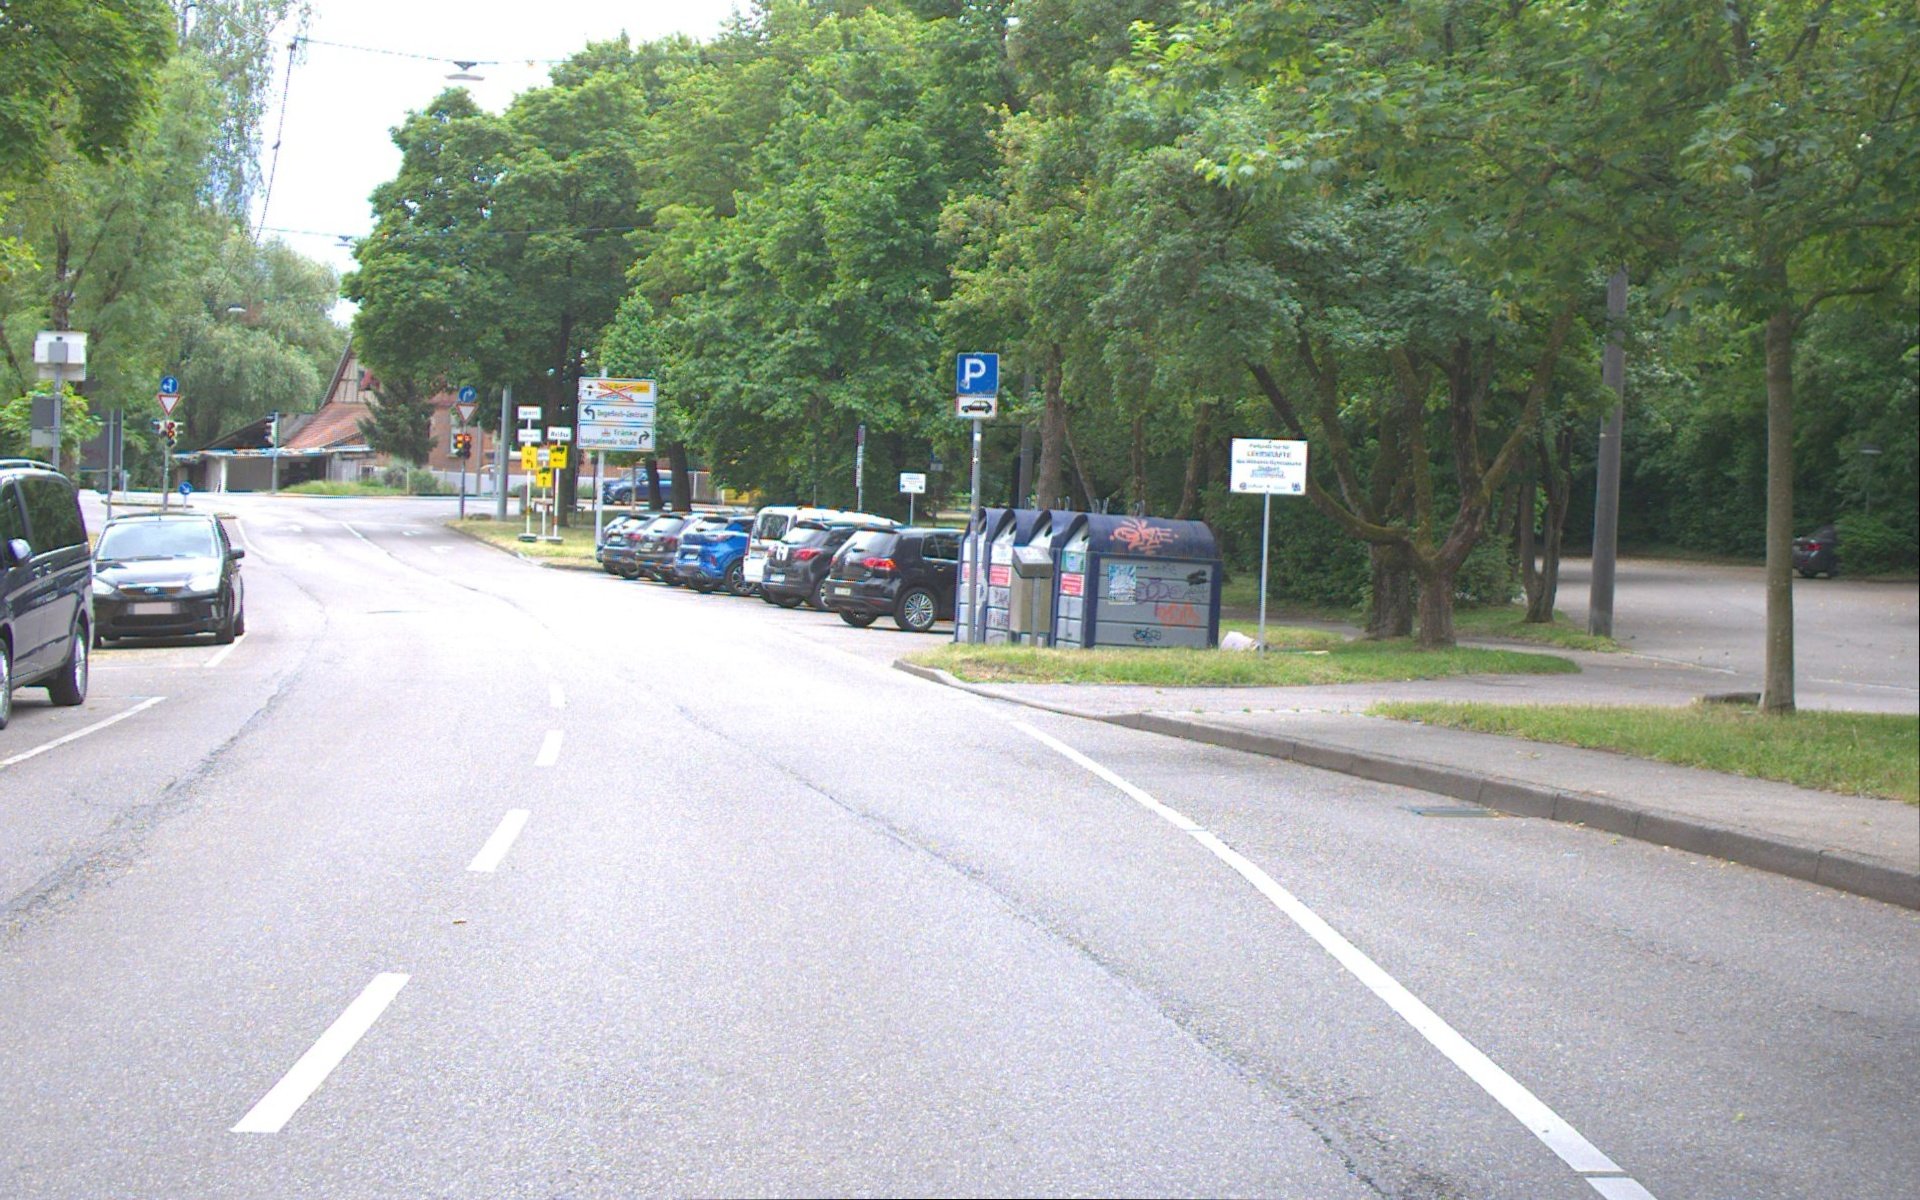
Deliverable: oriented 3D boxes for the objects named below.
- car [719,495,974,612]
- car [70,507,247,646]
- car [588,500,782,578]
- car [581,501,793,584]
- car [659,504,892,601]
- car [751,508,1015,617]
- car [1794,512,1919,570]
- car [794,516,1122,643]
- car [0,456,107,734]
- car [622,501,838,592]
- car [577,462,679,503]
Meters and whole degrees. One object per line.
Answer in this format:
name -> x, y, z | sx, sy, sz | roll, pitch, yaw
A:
car -> -1.935, -0.789, 58.762 | 3.818, 1.714, 1.878 | 4, 0, -31
car -> -9.707, -0.332, 41.890 | 1.804, 1.557, 4.268 | -2, 2, -10
car -> -6.065, -1.345, 75.928 | 3.818, 1.420, 1.746 | 4, 0, -31
car -> -5.644, -1.182, 71.133 | 3.873, 1.421, 1.830 | 4, 0, -31
car -> -3.392, -0.873, 63.345 | 3.818, 1.523, 1.746 | 4, 0, -31
car -> -1.246, -0.609, 55.957 | 3.818, 1.463, 1.747 | 4, 1, -31
car -> 23.627, -1.495, 88.090 | 3.986, 1.405, 1.800 | 1, 1, -5
car -> -0.024, -0.286, 47.916 | 3.986, 1.409, 2.058 | 4, 2, -31
car -> -7.704, -0.104, 25.625 | 1.857, 1.902, 5.084 | 1, 1, -6
car -> -4.555, -1.059, 68.158 | 3.818, 1.523, 1.746 | 4, 0, -31
car -> -14.246, -5.044, 147.687 | 3.845, 1.641, 2.000 | 0, 3, -32
